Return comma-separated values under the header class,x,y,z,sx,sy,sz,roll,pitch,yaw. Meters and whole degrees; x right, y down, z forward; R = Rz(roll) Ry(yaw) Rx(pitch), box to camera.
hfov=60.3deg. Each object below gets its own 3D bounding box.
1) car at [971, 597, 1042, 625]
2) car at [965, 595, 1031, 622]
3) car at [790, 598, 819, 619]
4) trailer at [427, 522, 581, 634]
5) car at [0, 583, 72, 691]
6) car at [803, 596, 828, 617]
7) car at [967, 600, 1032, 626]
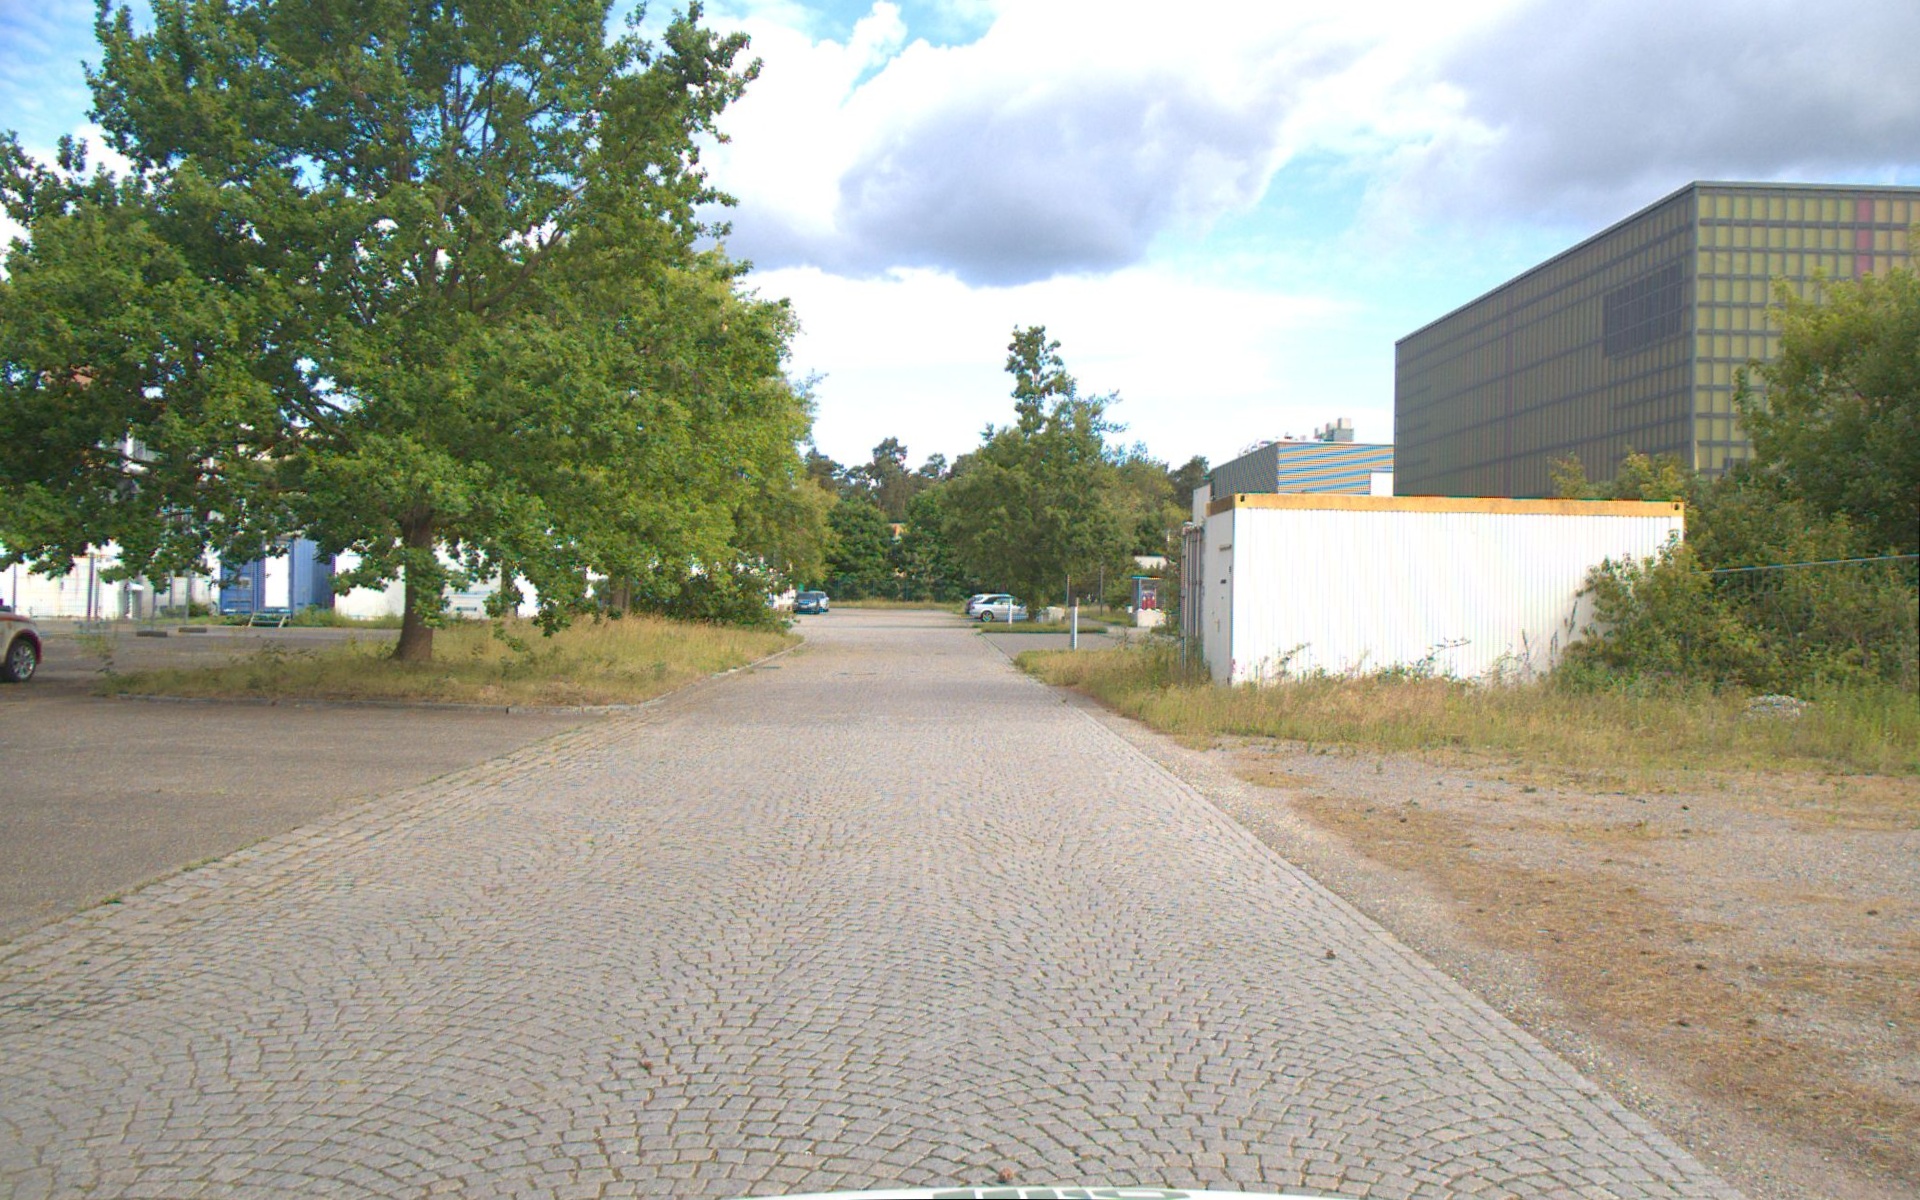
class,x,y,z,sx,sy,sz,roll,pitch,yaw
car,2.616,0.607,93.565,3.904,1.473,1.653,-1,0,-1
car,2.253,0.520,98.688,3.904,1.501,1.653,-1,0,-1
car,-10.530,0.577,112.055,1.614,1.393,3.996,1,0,-1
trailer,-16.361,-0.729,60.203,2.571,3.661,10.178,1,0,1
car,-13.863,0.501,22.095,1.591,1.458,4.066,1,0,4
car,-10.679,0.458,122.395,1.614,1.484,3.996,1,0,-1
car,2.152,0.707,90.857,3.451,1.386,1.622,-1,0,-1
